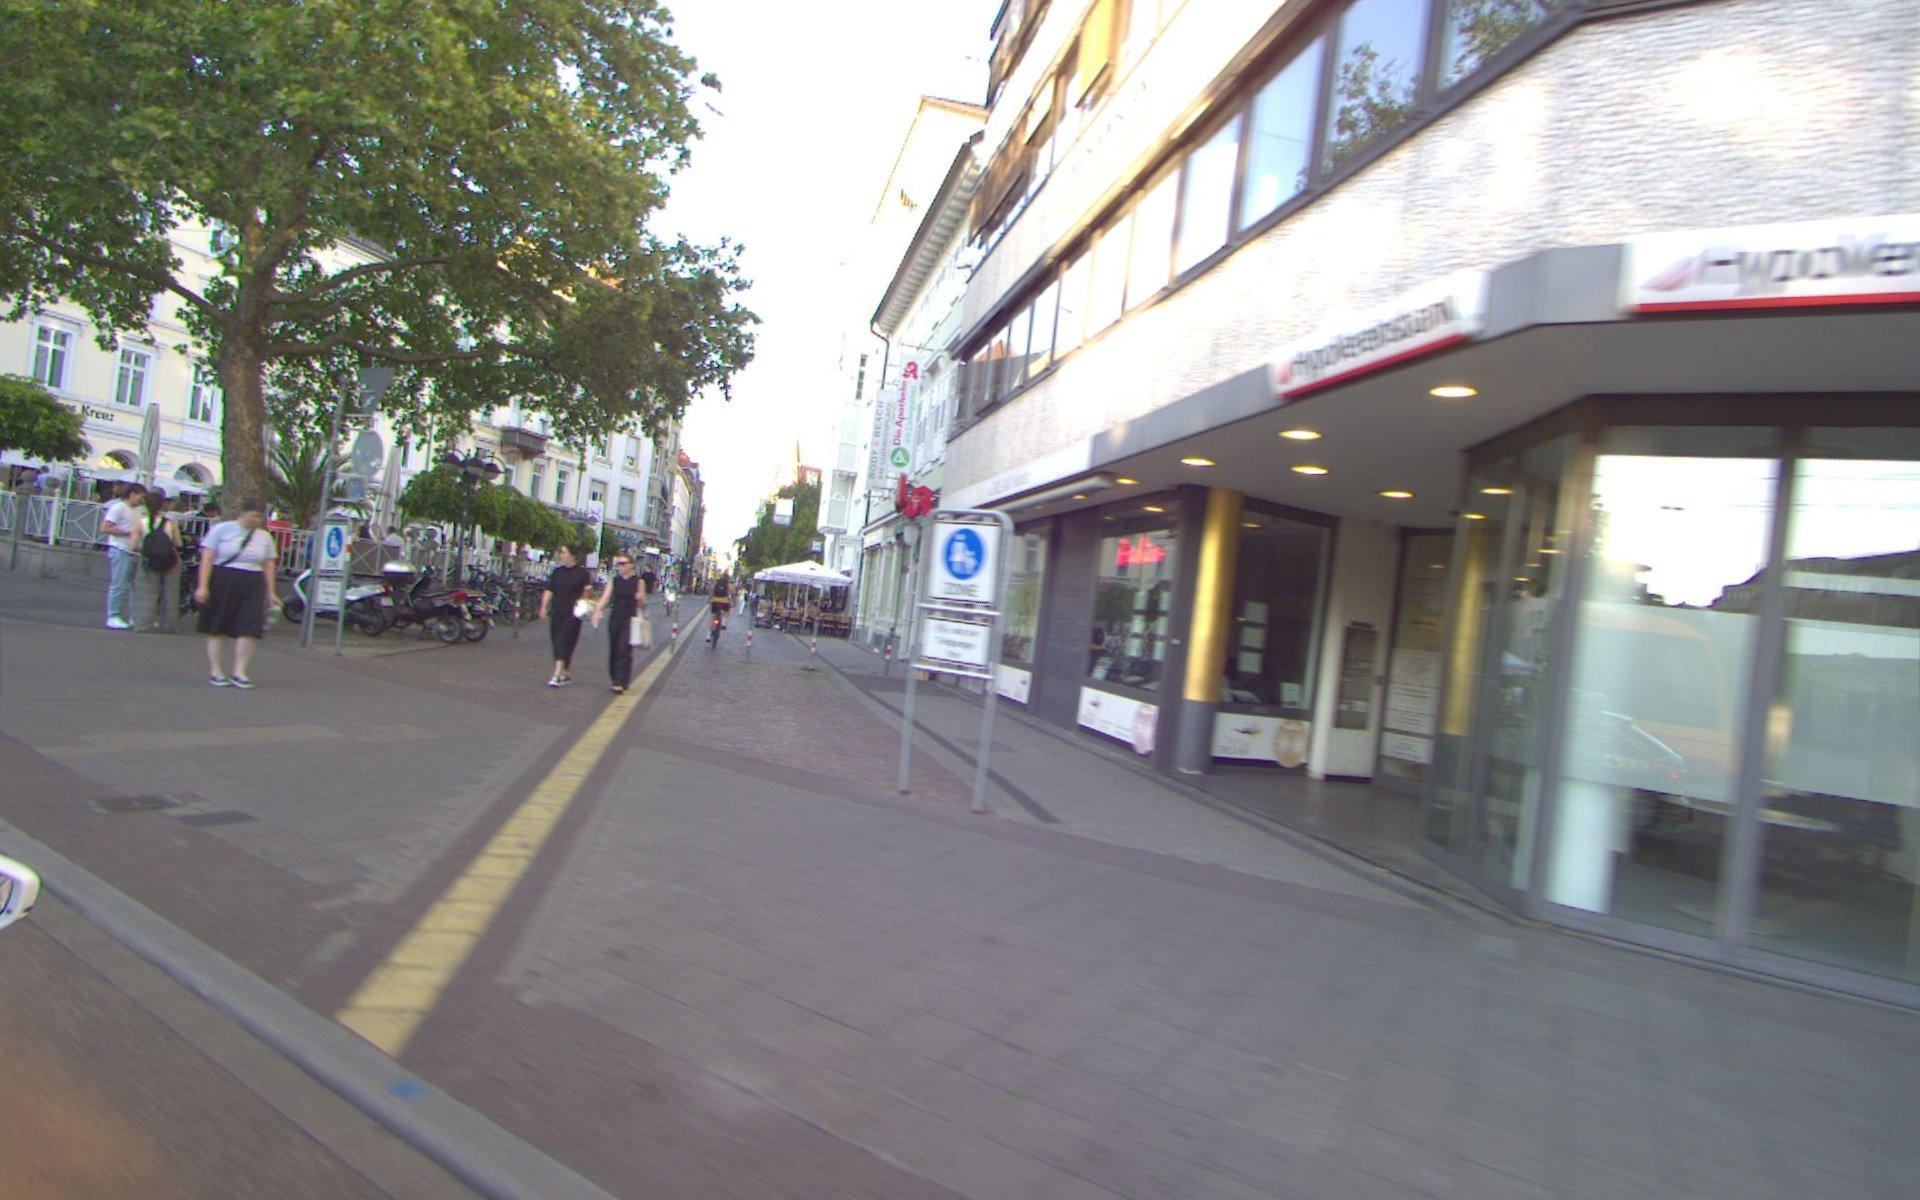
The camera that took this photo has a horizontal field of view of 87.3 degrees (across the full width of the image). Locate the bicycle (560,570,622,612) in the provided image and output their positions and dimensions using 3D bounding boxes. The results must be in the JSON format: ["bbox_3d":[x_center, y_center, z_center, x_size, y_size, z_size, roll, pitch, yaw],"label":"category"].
[{"bbox_3d":[-14.207,-0.342,38.793,2.090,1.307,0.440,8,0,-24],"label":"bicycle"}]

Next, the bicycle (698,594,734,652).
[{"bbox_3d":[-5.754,0.533,23.725,0.641,1.226,2.192,7,-2,-14],"label":"bicycle"}]

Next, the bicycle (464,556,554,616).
[{"bbox_3d":[-12.375,-0.380,27.629,2.080,1.308,0.442,9,2,-4],"label":"bicycle"}]

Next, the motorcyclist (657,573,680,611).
[{"bbox_3d":[-11.893,-0.318,41.044,0.595,1.458,0.596,6,-1,-43],"label":"motorcyclist"}]

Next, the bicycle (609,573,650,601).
[{"bbox_3d":[-19.147,-0.757,58.221,2.090,1.307,0.440,8,0,-24],"label":"bicycle"}]

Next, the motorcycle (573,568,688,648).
[{"bbox_3d":[-6.455,0.169,19.763,1.923,1.297,0.562,8,0,-6],"label":"motorcycle"}]

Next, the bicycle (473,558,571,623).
[{"bbox_3d":[-10.967,-0.228,25.225,2.080,1.307,0.442,9,1,-4],"label":"bicycle"}]

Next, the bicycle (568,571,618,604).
[{"bbox_3d":[-17.379,-0.595,47.627,2.090,1.307,0.440,8,0,-24],"label":"bicycle"}]

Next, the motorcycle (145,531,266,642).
[{"bbox_3d":[-9.756,-0.196,12.983,1.997,1.172,0.455,8,1,32],"label":"motorcycle"}]

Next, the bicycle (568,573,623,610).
[{"bbox_3d":[-15.604,-0.342,43.094,2.090,1.307,0.440,8,0,-24],"label":"bicycle"}]

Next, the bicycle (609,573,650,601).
[{"bbox_3d":[-19.109,-0.738,58.205,2.090,1.307,0.440,8,0,-24],"label":"bicycle"}]

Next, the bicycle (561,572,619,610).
[{"bbox_3d":[-15.263,-0.358,41.484,2.090,1.307,0.440,8,0,-24],"label":"bicycle"}]

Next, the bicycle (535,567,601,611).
[{"bbox_3d":[-14.335,-0.385,36.786,2.091,1.307,0.439,8,0,-24],"label":"bicycle"}]

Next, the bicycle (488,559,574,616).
[{"bbox_3d":[-12.243,-0.356,28.731,2.080,1.307,0.442,9,2,-4],"label":"bicycle"}]

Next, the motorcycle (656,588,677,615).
[{"bbox_3d":[-11.973,0.049,41.016,0.346,1.046,1.570,6,-1,-32],"label":"motorcycle"}]

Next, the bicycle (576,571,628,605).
[{"bbox_3d":[-16.416,-0.544,46.162,2.090,1.307,0.440,8,0,-24],"label":"bicycle"}]

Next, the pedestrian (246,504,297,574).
[{"bbox_3d":[-13.611,-1.196,19.874,0.642,1.300,0.732,6,-1,-42],"label":"pedestrian"}]

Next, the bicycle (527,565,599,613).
[{"bbox_3d":[-13.291,-0.360,33.718,2.091,1.306,0.440,8,-1,-24],"label":"bicycle"}]

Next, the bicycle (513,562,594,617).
[{"bbox_3d":[-12.162,-0.308,30.132,2.080,1.307,0.442,9,1,-4],"label":"bicycle"}]

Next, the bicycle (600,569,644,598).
[{"bbox_3d":[-18.179,-0.872,54.067,2.090,1.307,0.440,8,0,-24],"label":"bicycle"}]

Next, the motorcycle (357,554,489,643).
[{"bbox_3d":[-8.768,-0.014,16.451,1.764,1.164,0.553,9,0,5],"label":"motorcycle"}]

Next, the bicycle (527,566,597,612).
[{"bbox_3d":[-13.756,-0.379,34.785,2.091,1.307,0.440,8,0,-24],"label":"bicycle"}]

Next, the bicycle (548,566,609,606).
[{"bbox_3d":[-15.094,-0.543,39.807,2.090,1.307,0.440,8,0,-24],"label":"bicycle"}]

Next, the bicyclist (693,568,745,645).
[{"bbox_3d":[-5.701,0.172,23.780,0.977,1.671,0.997,7,-2,-14],"label":"bicyclist"}]

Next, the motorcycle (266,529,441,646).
[{"bbox_3d":[-9.267,-0.183,15.395,2.253,1.440,0.566,9,0,5],"label":"motorcycle"}]

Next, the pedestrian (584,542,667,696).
[{"bbox_3d":[-4.018,0.231,12.139,0.647,1.745,0.823,5,-1,-6],"label":"pedestrian"}]

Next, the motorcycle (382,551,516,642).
[{"bbox_3d":[-8.783,-0.050,17.324,1.920,1.297,0.563,7,0,5],"label":"motorcycle"}]

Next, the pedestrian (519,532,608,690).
[{"bbox_3d":[-4.731,0.136,12.050,0.647,1.762,0.823,5,-1,-6],"label":"pedestrian"}]

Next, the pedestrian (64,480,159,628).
[{"bbox_3d":[-10.429,-0.560,12.365,0.651,1.738,0.614,5,-1,34],"label":"pedestrian"}]

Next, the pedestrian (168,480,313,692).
[{"bbox_3d":[-6.577,-0.118,9.200,0.811,1.826,0.714,6,1,35],"label":"pedestrian"}]

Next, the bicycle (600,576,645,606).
[{"bbox_3d":[-17.796,-0.468,53.021,2.090,1.307,0.440,8,0,-24],"label":"bicycle"}]
